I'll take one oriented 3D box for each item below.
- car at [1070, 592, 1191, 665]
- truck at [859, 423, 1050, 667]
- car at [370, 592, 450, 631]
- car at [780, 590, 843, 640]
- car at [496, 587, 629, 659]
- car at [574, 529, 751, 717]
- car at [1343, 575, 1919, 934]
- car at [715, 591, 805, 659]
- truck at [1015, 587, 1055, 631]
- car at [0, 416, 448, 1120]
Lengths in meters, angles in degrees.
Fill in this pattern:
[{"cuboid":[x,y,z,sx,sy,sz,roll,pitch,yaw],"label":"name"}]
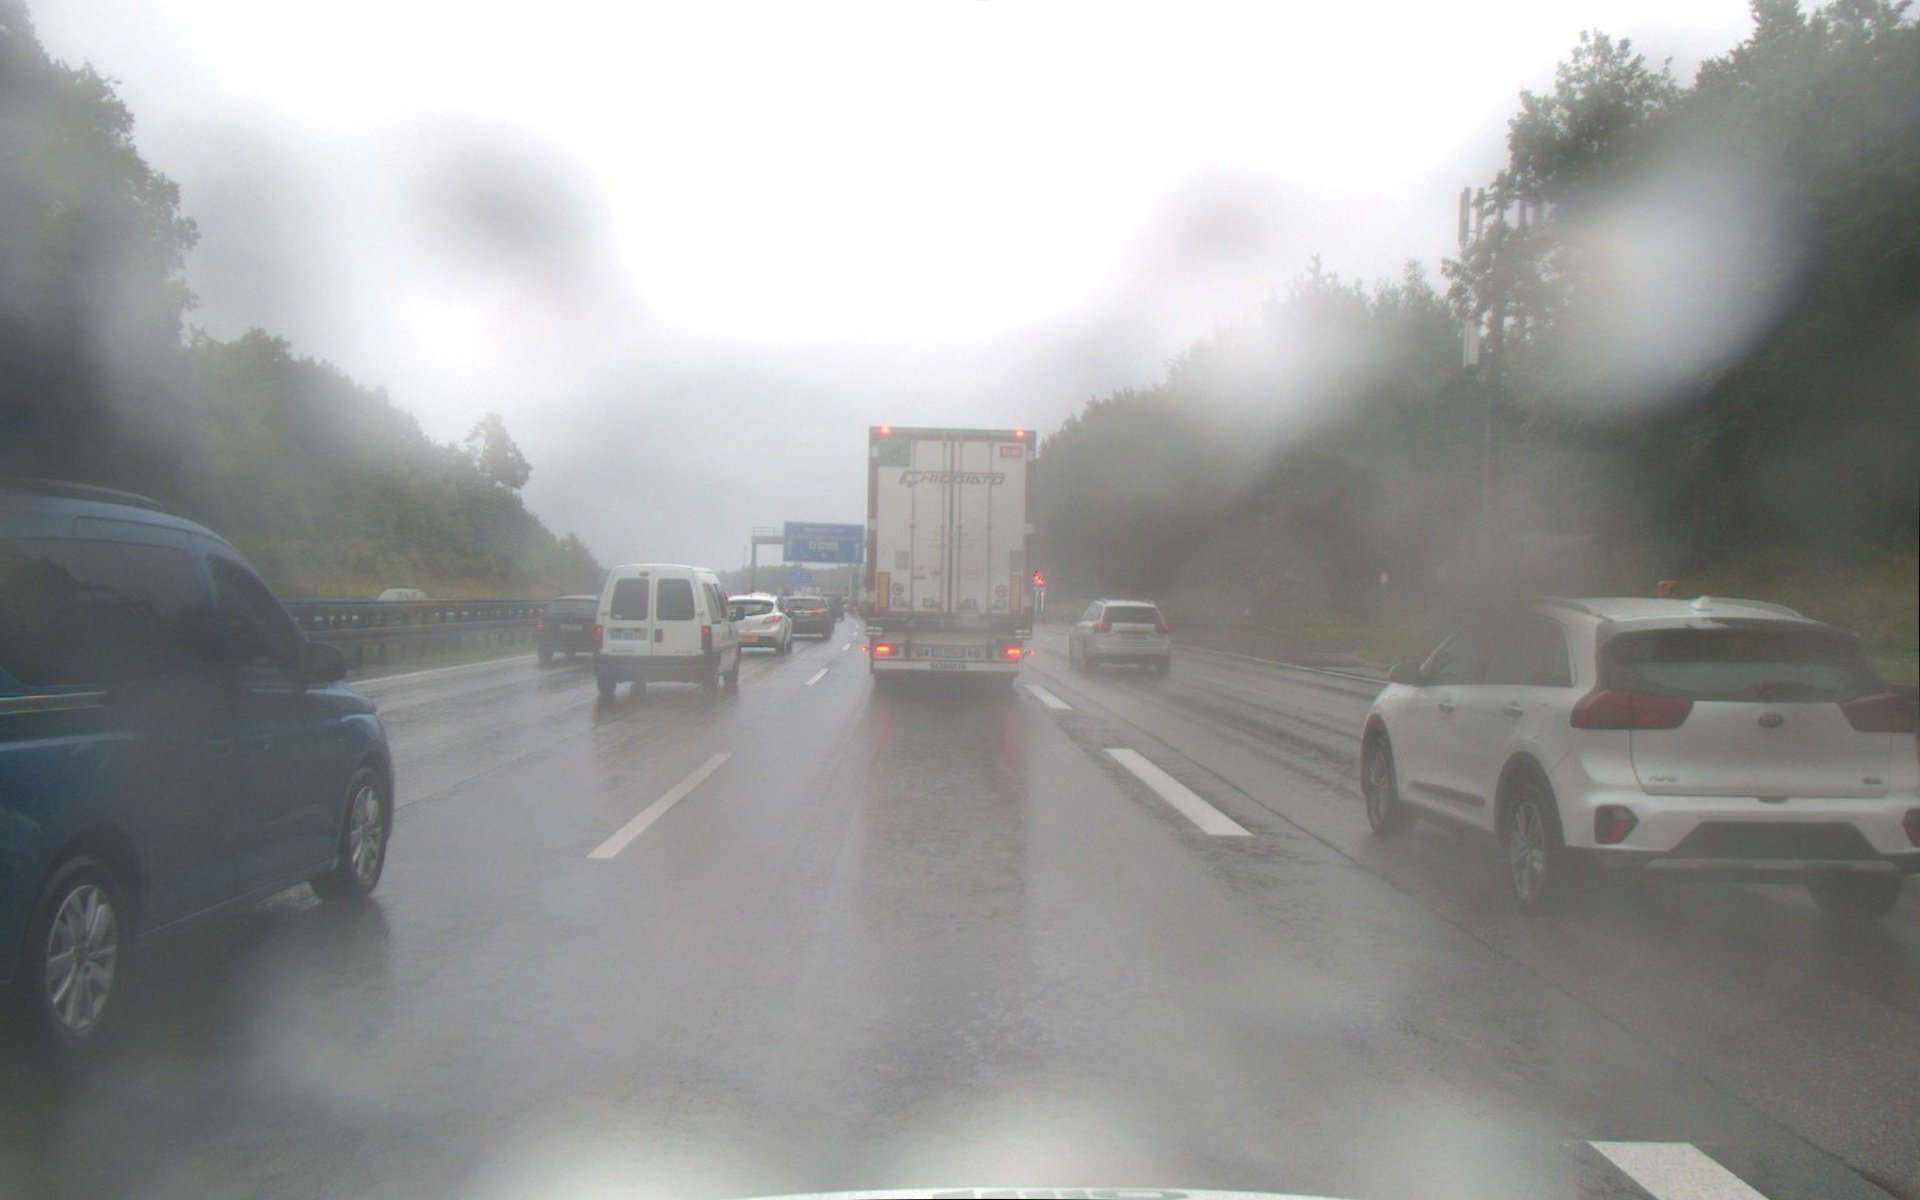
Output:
[{"cuboid":[3.576,0.557,35.491,1.966,1.418,4.566,1,0,-2],"label":"car"},{"cuboid":[-0.224,-0.787,30.569,2.814,3.624,11.298,1,0,-2],"label":"truck"},{"cuboid":[-20.175,0.398,60.841,1.765,1.368,3.675,1,0,-1],"label":"car"},{"cuboid":[-5.144,0.492,57.825,1.808,1.619,4.466,1,0,-1],"label":"car"},{"cuboid":[-8.868,0.468,37.324,2.049,1.531,4.752,0,0,-3],"label":"car"},{"cuboid":[-4.506,0.311,25.797,2.169,2.618,5.011,1,0,-4],"label":"car"},{"cuboid":[3.659,0.669,9.414,1.808,1.549,4.342,1,0,-2],"label":"car"},{"cuboid":[-5.045,0.600,42.245,1.808,1.619,4.071,1,0,-1],"label":"car"},{"cuboid":[5.344,0.609,118.726,2.536,2.992,6.455,1,0,-1],"label":"truck"},{"cuboid":[-3.747,0.440,5.926,2.223,1.945,5.015,1,0,0],"label":"car"}]
